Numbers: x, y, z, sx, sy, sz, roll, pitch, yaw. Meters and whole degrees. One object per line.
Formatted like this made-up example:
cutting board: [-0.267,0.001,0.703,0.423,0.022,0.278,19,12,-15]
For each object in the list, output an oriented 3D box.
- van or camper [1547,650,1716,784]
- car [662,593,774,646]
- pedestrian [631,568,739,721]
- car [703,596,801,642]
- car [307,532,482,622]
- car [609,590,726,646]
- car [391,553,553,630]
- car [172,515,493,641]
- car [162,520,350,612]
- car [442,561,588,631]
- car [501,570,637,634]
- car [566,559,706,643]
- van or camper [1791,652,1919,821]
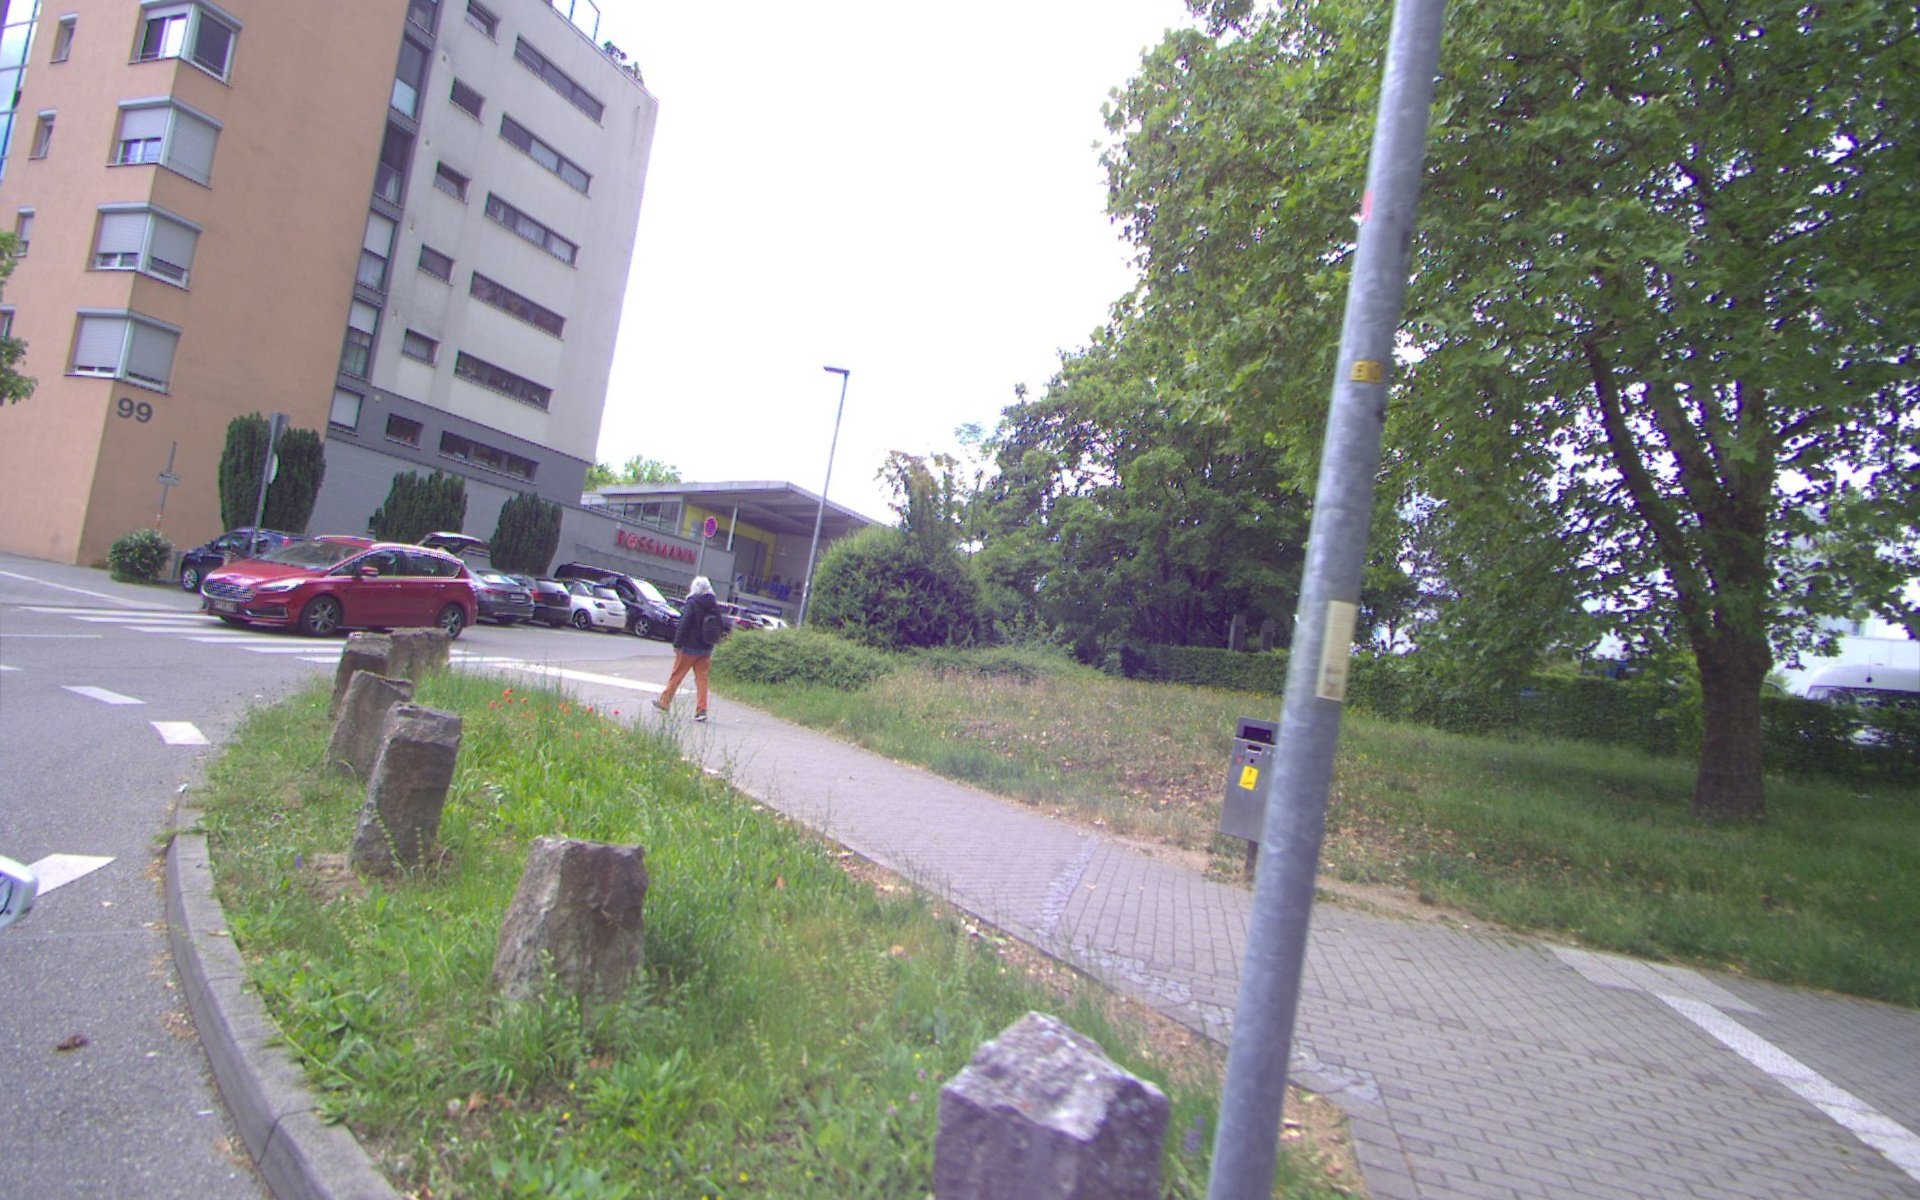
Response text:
van or camper: [17.373,3.054,25.955,4.447,2.828,2.094,11,-4,-37]
car: [-9.092,0.731,37.802,3.708,1.499,1.642,7,-1,23]
pedestrian: [-3.266,0.534,11.967,0.826,1.683,0.615,6,-3,27]
car: [-8.899,0.809,43.024,3.708,1.499,1.642,7,-1,23]
car: [-13.524,-0.551,24.057,3.708,1.678,1.573,7,-1,23]
car: [-10.470,0.642,36.025,3.708,1.499,1.642,7,-1,23]
car: [-12.697,-0.209,26.175,3.708,1.499,1.642,7,-1,23]
car: [-10.651,-0.262,17.569,1.943,1.664,4.539,7,-1,15]
car: [-14.983,-0.714,21.416,3.461,1.494,1.505,7,0,21]
car: [-12.743,-0.119,28.809,3.708,1.499,1.642,7,-1,23]
car: [-12.049,0.064,31.027,3.708,1.499,1.642,7,-1,23]
car: [-10.706,0.040,33.239,3.905,2.184,1.832,7,-3,23]
van or camper: [18.171,2.766,19.478,4.447,2.828,2.094,11,-4,-37]
